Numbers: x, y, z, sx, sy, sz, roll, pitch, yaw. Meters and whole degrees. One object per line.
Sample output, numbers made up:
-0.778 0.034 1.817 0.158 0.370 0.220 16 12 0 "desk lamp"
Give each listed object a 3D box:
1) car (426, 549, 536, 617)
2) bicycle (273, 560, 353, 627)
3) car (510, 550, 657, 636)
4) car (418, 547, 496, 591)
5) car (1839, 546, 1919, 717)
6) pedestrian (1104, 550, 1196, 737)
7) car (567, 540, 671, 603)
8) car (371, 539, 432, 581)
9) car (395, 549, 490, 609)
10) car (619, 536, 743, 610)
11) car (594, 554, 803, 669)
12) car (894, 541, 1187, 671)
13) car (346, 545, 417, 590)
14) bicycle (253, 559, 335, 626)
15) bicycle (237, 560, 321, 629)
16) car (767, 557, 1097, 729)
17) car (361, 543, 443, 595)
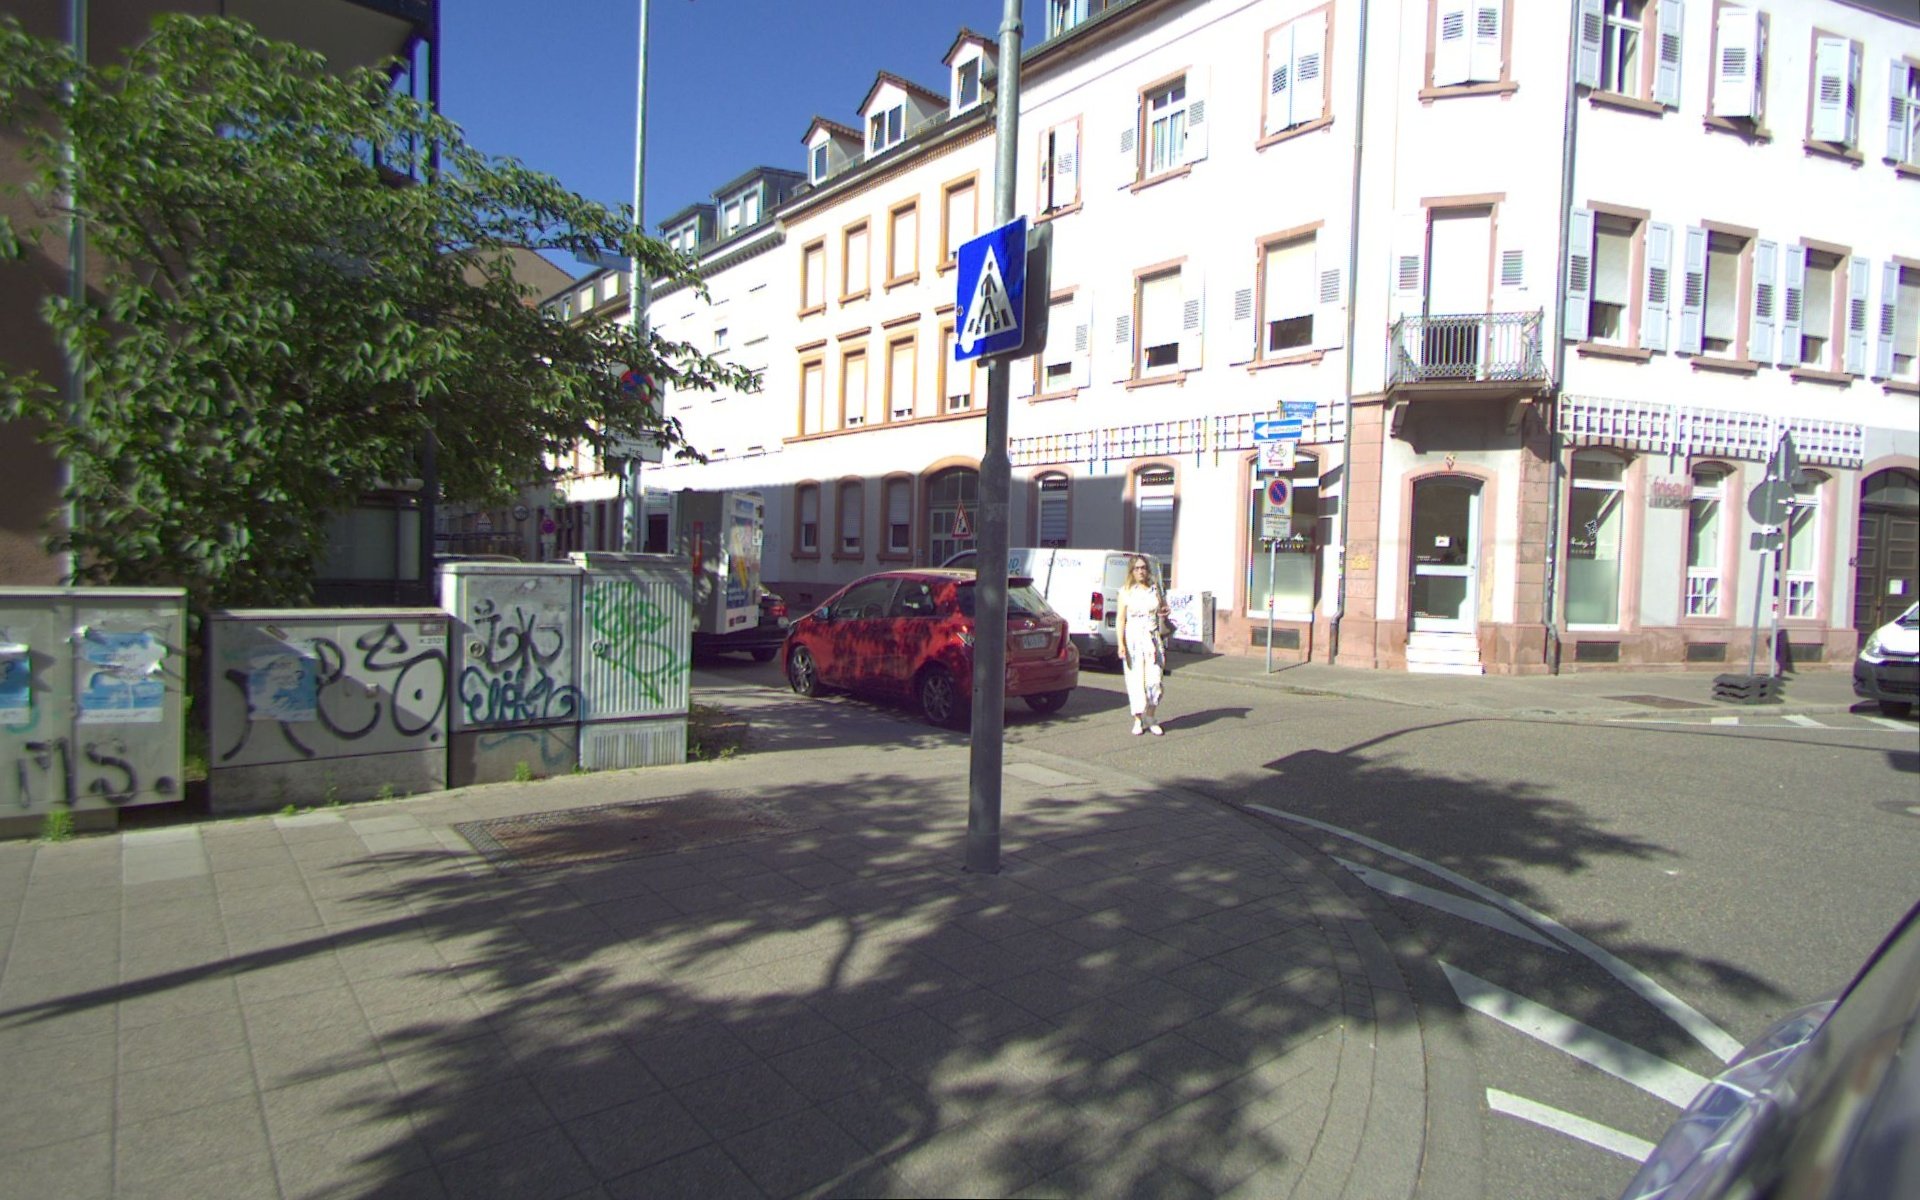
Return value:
-11.852 -0.461 24.948 1.629 1.519 3.760 0 2 -39 "car"
-10.975 -0.111 17.177 1.196 1.085 0.253 2 1 0 "bicycle"
-7.552 -0.190 20.115 1.629 1.519 3.760 0 2 -39 "car"
-18.862 -1.197 37.858 1.804 1.475 3.960 0 3 -39 "car"
13.518 0.418 12.210 4.919 1.970 2.056 1 2 -17 "car"
1.736 0.371 9.353 0.722 1.634 0.815 1 2 6 "pedestrian"
-10.900 -0.927 32.220 1.866 1.882 3.992 0 2 -39 "car"
-26.513 -1.898 47.965 1.866 1.882 3.992 0 2 -39 "car"
-14.399 -0.613 28.053 1.629 1.519 3.760 0 2 -39 "car"
-7.729 -0.779 27.814 1.866 1.882 3.992 0 2 -39 "car"
-4.204 0.085 15.833 1.629 1.519 4.077 0 2 -39 "car"
1.179 0.015 17.178 1.867 1.882 5.007 3 1 -41 "car"
-20.789 -1.192 36.301 1.629 1.519 3.760 0 2 -39 "car"
-11.106 -0.127 16.880 1.193 1.085 0.253 2 1 0 "bicycle"
-11.117 -0.097 16.530 1.193 1.084 0.253 2 1 0 "bicycle"
-0.456 0.314 11.248 1.661 1.518 3.802 -2 4 -40 "car"
-17.437 -0.984 31.556 1.629 1.519 3.760 0 2 -39 "car"
